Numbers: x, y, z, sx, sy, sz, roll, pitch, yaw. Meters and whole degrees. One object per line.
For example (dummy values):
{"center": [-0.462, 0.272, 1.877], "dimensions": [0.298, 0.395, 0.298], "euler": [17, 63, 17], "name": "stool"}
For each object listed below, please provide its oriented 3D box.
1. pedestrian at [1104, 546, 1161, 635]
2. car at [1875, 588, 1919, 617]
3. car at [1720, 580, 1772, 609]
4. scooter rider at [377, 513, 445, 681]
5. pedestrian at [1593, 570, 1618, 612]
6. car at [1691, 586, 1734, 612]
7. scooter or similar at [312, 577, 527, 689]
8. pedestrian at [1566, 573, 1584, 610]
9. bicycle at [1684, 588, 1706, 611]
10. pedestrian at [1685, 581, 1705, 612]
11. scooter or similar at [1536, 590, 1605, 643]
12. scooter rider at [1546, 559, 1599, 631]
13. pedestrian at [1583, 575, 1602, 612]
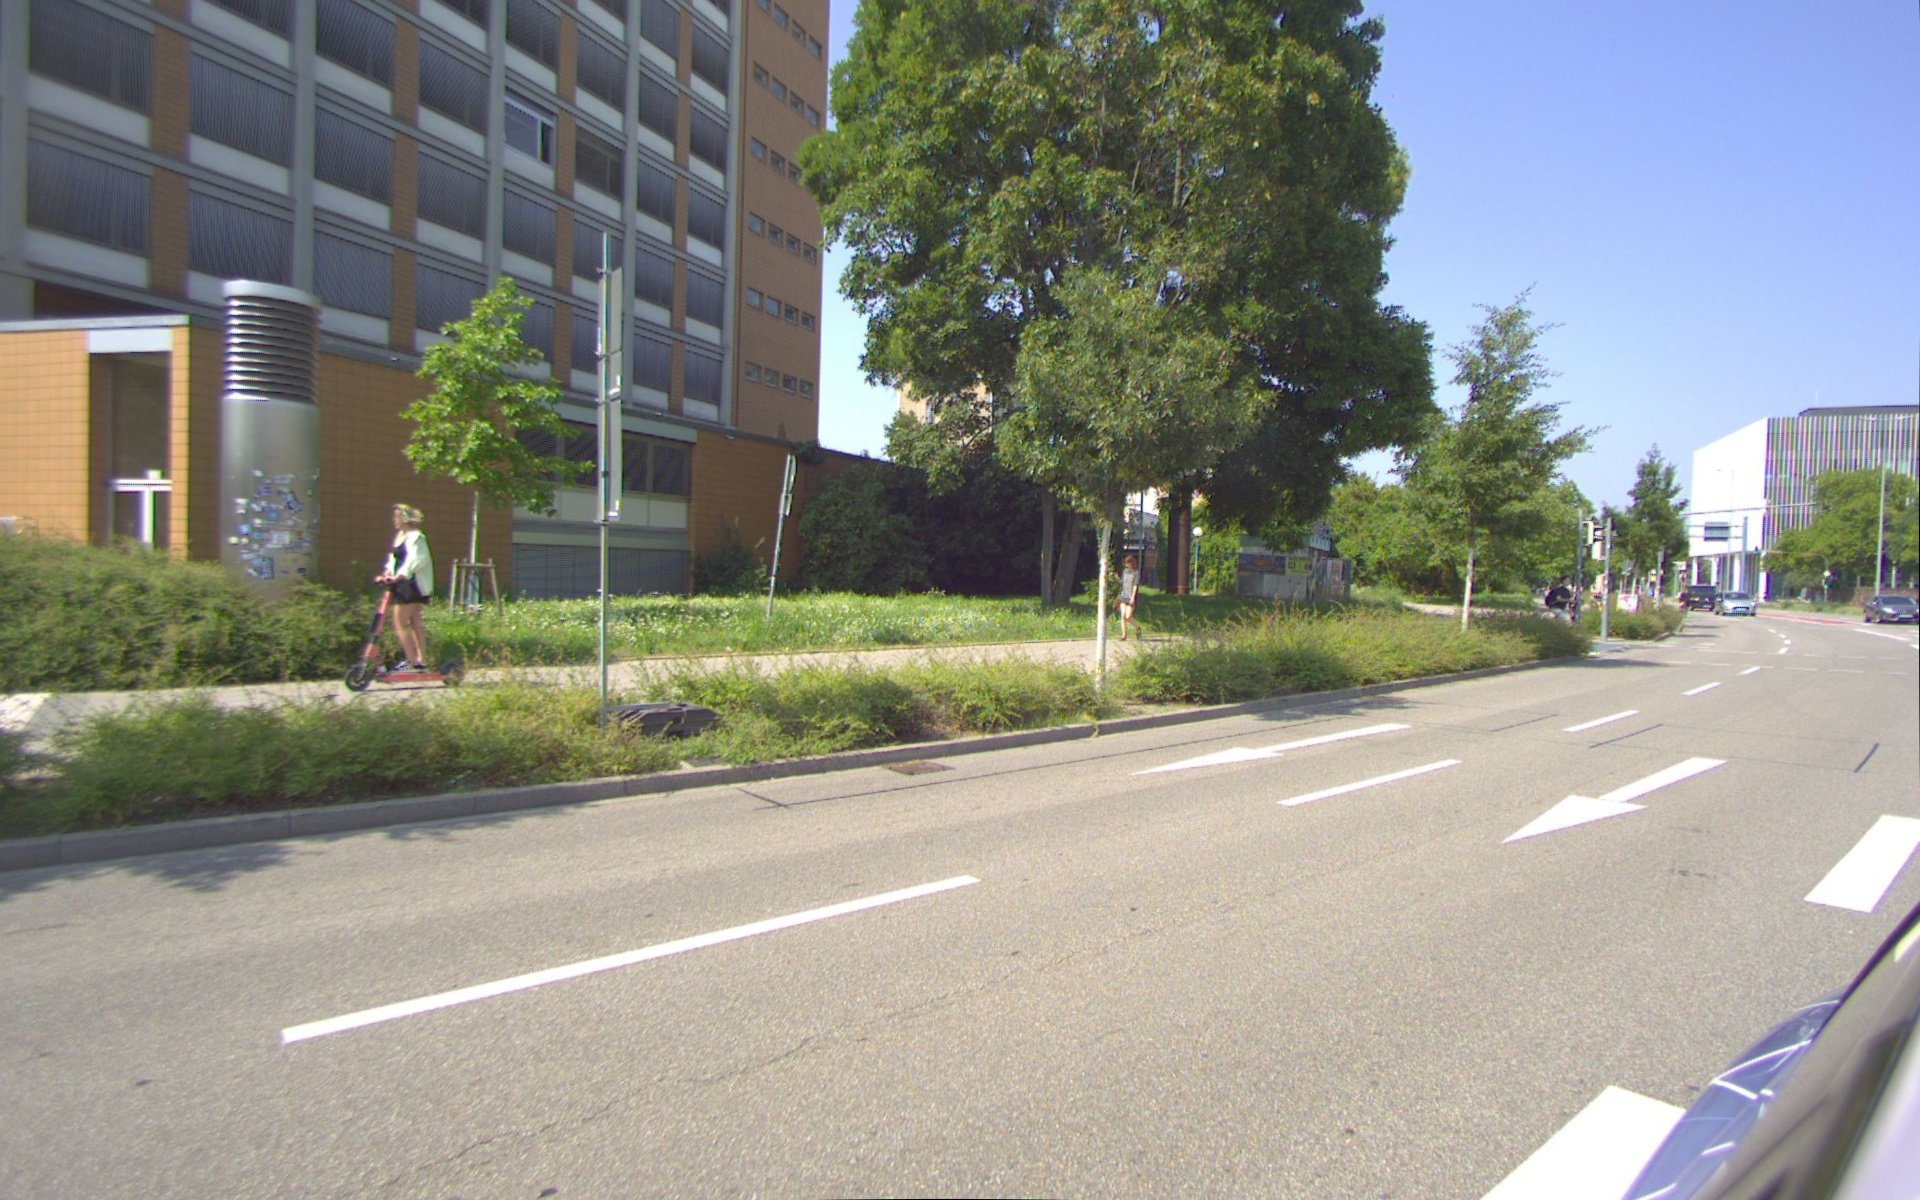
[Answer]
{"center": [3.490, -0.203, 20.471], "dimensions": [0.706, 1.725, 0.865], "euler": [5, 4, 43], "name": "pedestrian"}
{"center": [47.079, 0.107, 50.178], "dimensions": [1.776, 1.374, 3.389], "euler": [1, 1, 29], "name": "car"}
{"center": [49.435, -0.387, 63.742], "dimensions": [1.983, 1.699, 3.959], "euler": [2, 2, 29], "name": "car"}
{"center": [-5.836, -0.049, 10.755], "dimensions": [0.529, 1.720, 0.672], "euler": [-1, 3, -38], "name": "scooter rider"}
{"center": [27.766, -0.394, 43.531], "dimensions": [0.787, 1.790, 0.818], "euler": [2, 2, 30], "name": "pedestrian"}
{"center": [56.091, -0.109, 75.500], "dimensions": [1.983, 1.801, 3.959], "euler": [2, 2, 29], "name": "car"}
{"center": [-5.762, 0.309, 10.859], "dimensions": [1.968, 1.072, 0.558], "euler": [-1, 5, -39], "name": "scooter or similar"}
{"center": [29.978, -0.428, 49.347], "dimensions": [0.688, 1.793, 0.581], "euler": [3, 2, 31], "name": "pedestrian"}
{"center": [40.831, -0.019, 56.236], "dimensions": [0.780, 1.227, 1.770], "euler": [3, 2, 30], "name": "bicycle"}
{"center": [40.762, -0.220, 56.097], "dimensions": [0.774, 1.689, 0.543], "euler": [3, 2, 31], "name": "pedestrian"}
{"center": [15.406, 0.405, 25.579], "dimensions": [0.573, 1.249, 1.371], "euler": [1, 3, -23], "name": "scooter or similar"}
{"center": [15.472, -0.129, 25.575], "dimensions": [0.674, 1.760, 0.807], "euler": [1, 2, -23], "name": "scooter rider"}
{"center": [30.690, -0.316, 49.116], "dimensions": [0.688, 1.793, 0.581], "euler": [3, 2, 31], "name": "pedestrian"}
